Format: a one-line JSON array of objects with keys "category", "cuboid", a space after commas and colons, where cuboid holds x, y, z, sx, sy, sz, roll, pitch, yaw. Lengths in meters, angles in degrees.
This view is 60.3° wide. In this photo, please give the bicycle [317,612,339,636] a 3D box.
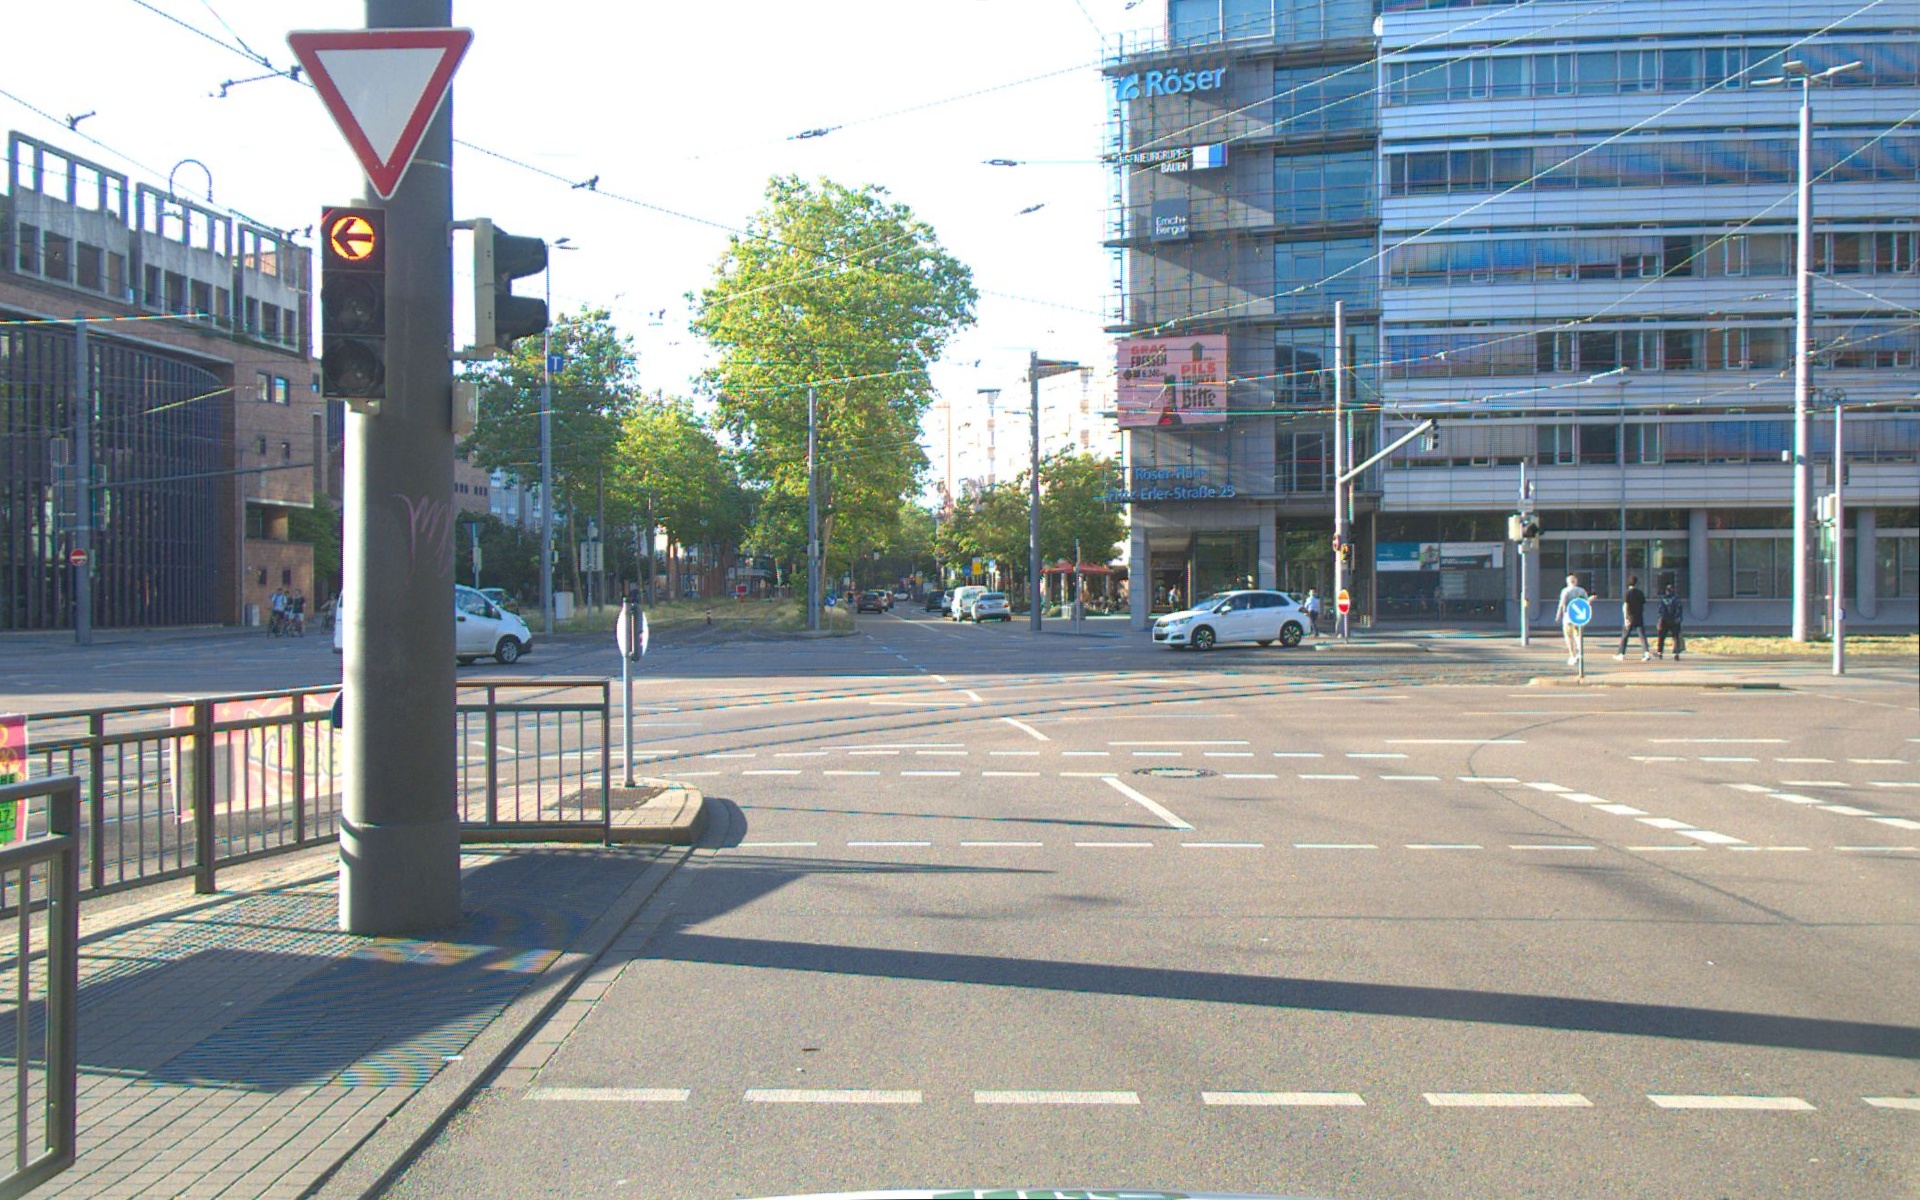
[{"category": "bicycle", "cuboid": [-27.162, 1.032, 71.054, 0.442, 0.980, 1.347, -1, 0, -1]}]

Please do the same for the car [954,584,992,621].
[{"category": "car", "cuboid": [0.686, 0.118, 89.559, 1.953, 1.892, 3.999, -1, 0, -1]}]

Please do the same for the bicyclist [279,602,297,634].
[{"category": "bicyclist", "cuboid": [-27.680, 0.731, 68.134, 0.495, 1.327, 0.581, -1, 0, -1]}]

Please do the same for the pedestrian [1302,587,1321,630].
[{"category": "pedestrian", "cuboid": [12.458, 0.297, 58.658, 0.599, 1.534, 0.579, -1, 0, 7]}]

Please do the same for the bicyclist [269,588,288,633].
[{"category": "bicyclist", "cuboid": [-26.813, 0.420, 65.077, 0.525, 1.761, 0.581, -1, 0, -1]}]

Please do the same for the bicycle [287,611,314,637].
[{"category": "bicycle", "cuboid": [-26.072, 0.939, 65.389, 0.463, 0.980, 1.575, -1, 0, -1]}]

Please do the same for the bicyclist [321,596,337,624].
[{"category": "bicyclist", "cuboid": [-27.127, 0.435, 71.112, 0.495, 1.199, 0.581, -1, 0, -1]}]

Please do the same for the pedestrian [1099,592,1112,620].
[{"category": "pedestrian", "cuboid": [9.263, 0.396, 105.165, 0.729, 1.744, 0.612, -1, 0, -1]}]

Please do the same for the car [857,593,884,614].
[{"category": "car", "cuboid": [-6.322, 0.215, 117.558, 1.761, 1.467, 3.999, -1, 0, -1]}]

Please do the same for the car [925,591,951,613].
[{"category": "car", "cuboid": [-1.682, 0.136, 126.618, 1.953, 1.646, 3.999, -1, 0, -1]}]

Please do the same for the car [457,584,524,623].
[{"category": "car", "cuboid": [-21.122, 0.143, 74.578, 1.953, 1.668, 3.999, -1, 0, -2]}]

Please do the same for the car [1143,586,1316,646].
[{"category": "car", "cuboid": [7.164, 0.408, 44.022, 4.225, 1.514, 1.754, -1, 0, -16]}]

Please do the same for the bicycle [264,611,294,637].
[{"category": "bicycle", "cuboid": [-26.829, 0.941, 65.137, 0.531, 0.980, 1.586, -1, 0, -1]}]

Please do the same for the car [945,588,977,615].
[{"category": "car", "cuboid": [0.034, 0.074, 105.195, 1.953, 1.646, 3.999, -1, 0, -1]}]

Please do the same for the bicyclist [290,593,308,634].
[{"category": "bicyclist", "cuboid": [-26.120, 0.526, 65.377, 0.449, 1.631, 0.581, -1, 0, -1]}]

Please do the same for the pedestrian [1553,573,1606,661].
[{"category": "pedestrian", "cuboid": [13.073, 0.359, 34.932, 0.845, 1.820, 0.872, -1, 0, 6]}]

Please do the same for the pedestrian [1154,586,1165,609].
[{"category": "pedestrian", "cuboid": [15.265, -0.216, 126.495, 0.729, 1.744, 0.612, -1, 0, -1]}]

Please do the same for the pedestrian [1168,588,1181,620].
[{"category": "pedestrian", "cuboid": [10.293, 0.196, 79.218, 0.599, 1.534, 0.579, -1, 0, 7]}]

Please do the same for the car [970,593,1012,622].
[{"category": "car", "cuboid": [1.535, 0.338, 82.773, 1.953, 1.400, 3.999, -1, 0, -1]}]

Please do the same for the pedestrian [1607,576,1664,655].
[{"category": "pedestrian", "cuboid": [14.924, 0.333, 36.565, 0.893, 1.714, 1.036, -1, 0, 6]}]

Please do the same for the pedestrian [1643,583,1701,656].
[{"category": "pedestrian", "cuboid": [15.678, 0.420, 36.429, 0.928, 1.591, 0.897, -1, 0, 6]}]

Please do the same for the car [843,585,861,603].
[{"category": "car", "cuboid": [-12.872, -0.717, 196.851, 1.953, 2.049, 3.999, -1, 0, -1]}]

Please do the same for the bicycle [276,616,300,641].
[{"category": "bicycle", "cuboid": [-27.686, 1.173, 68.146, 0.458, 0.980, 1.320, -1, 0, -1]}]

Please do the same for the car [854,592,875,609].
[{"category": "car", "cuboid": [-8.498, 0.031, 146.926, 1.762, 1.467, 3.998, 1, 0, -3]}]

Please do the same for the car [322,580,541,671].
[{"category": "car", "cuboid": [-11.759, 0.521, 37.061, 1.727, 1.899, 4.506, -1, 0, 37]}]
